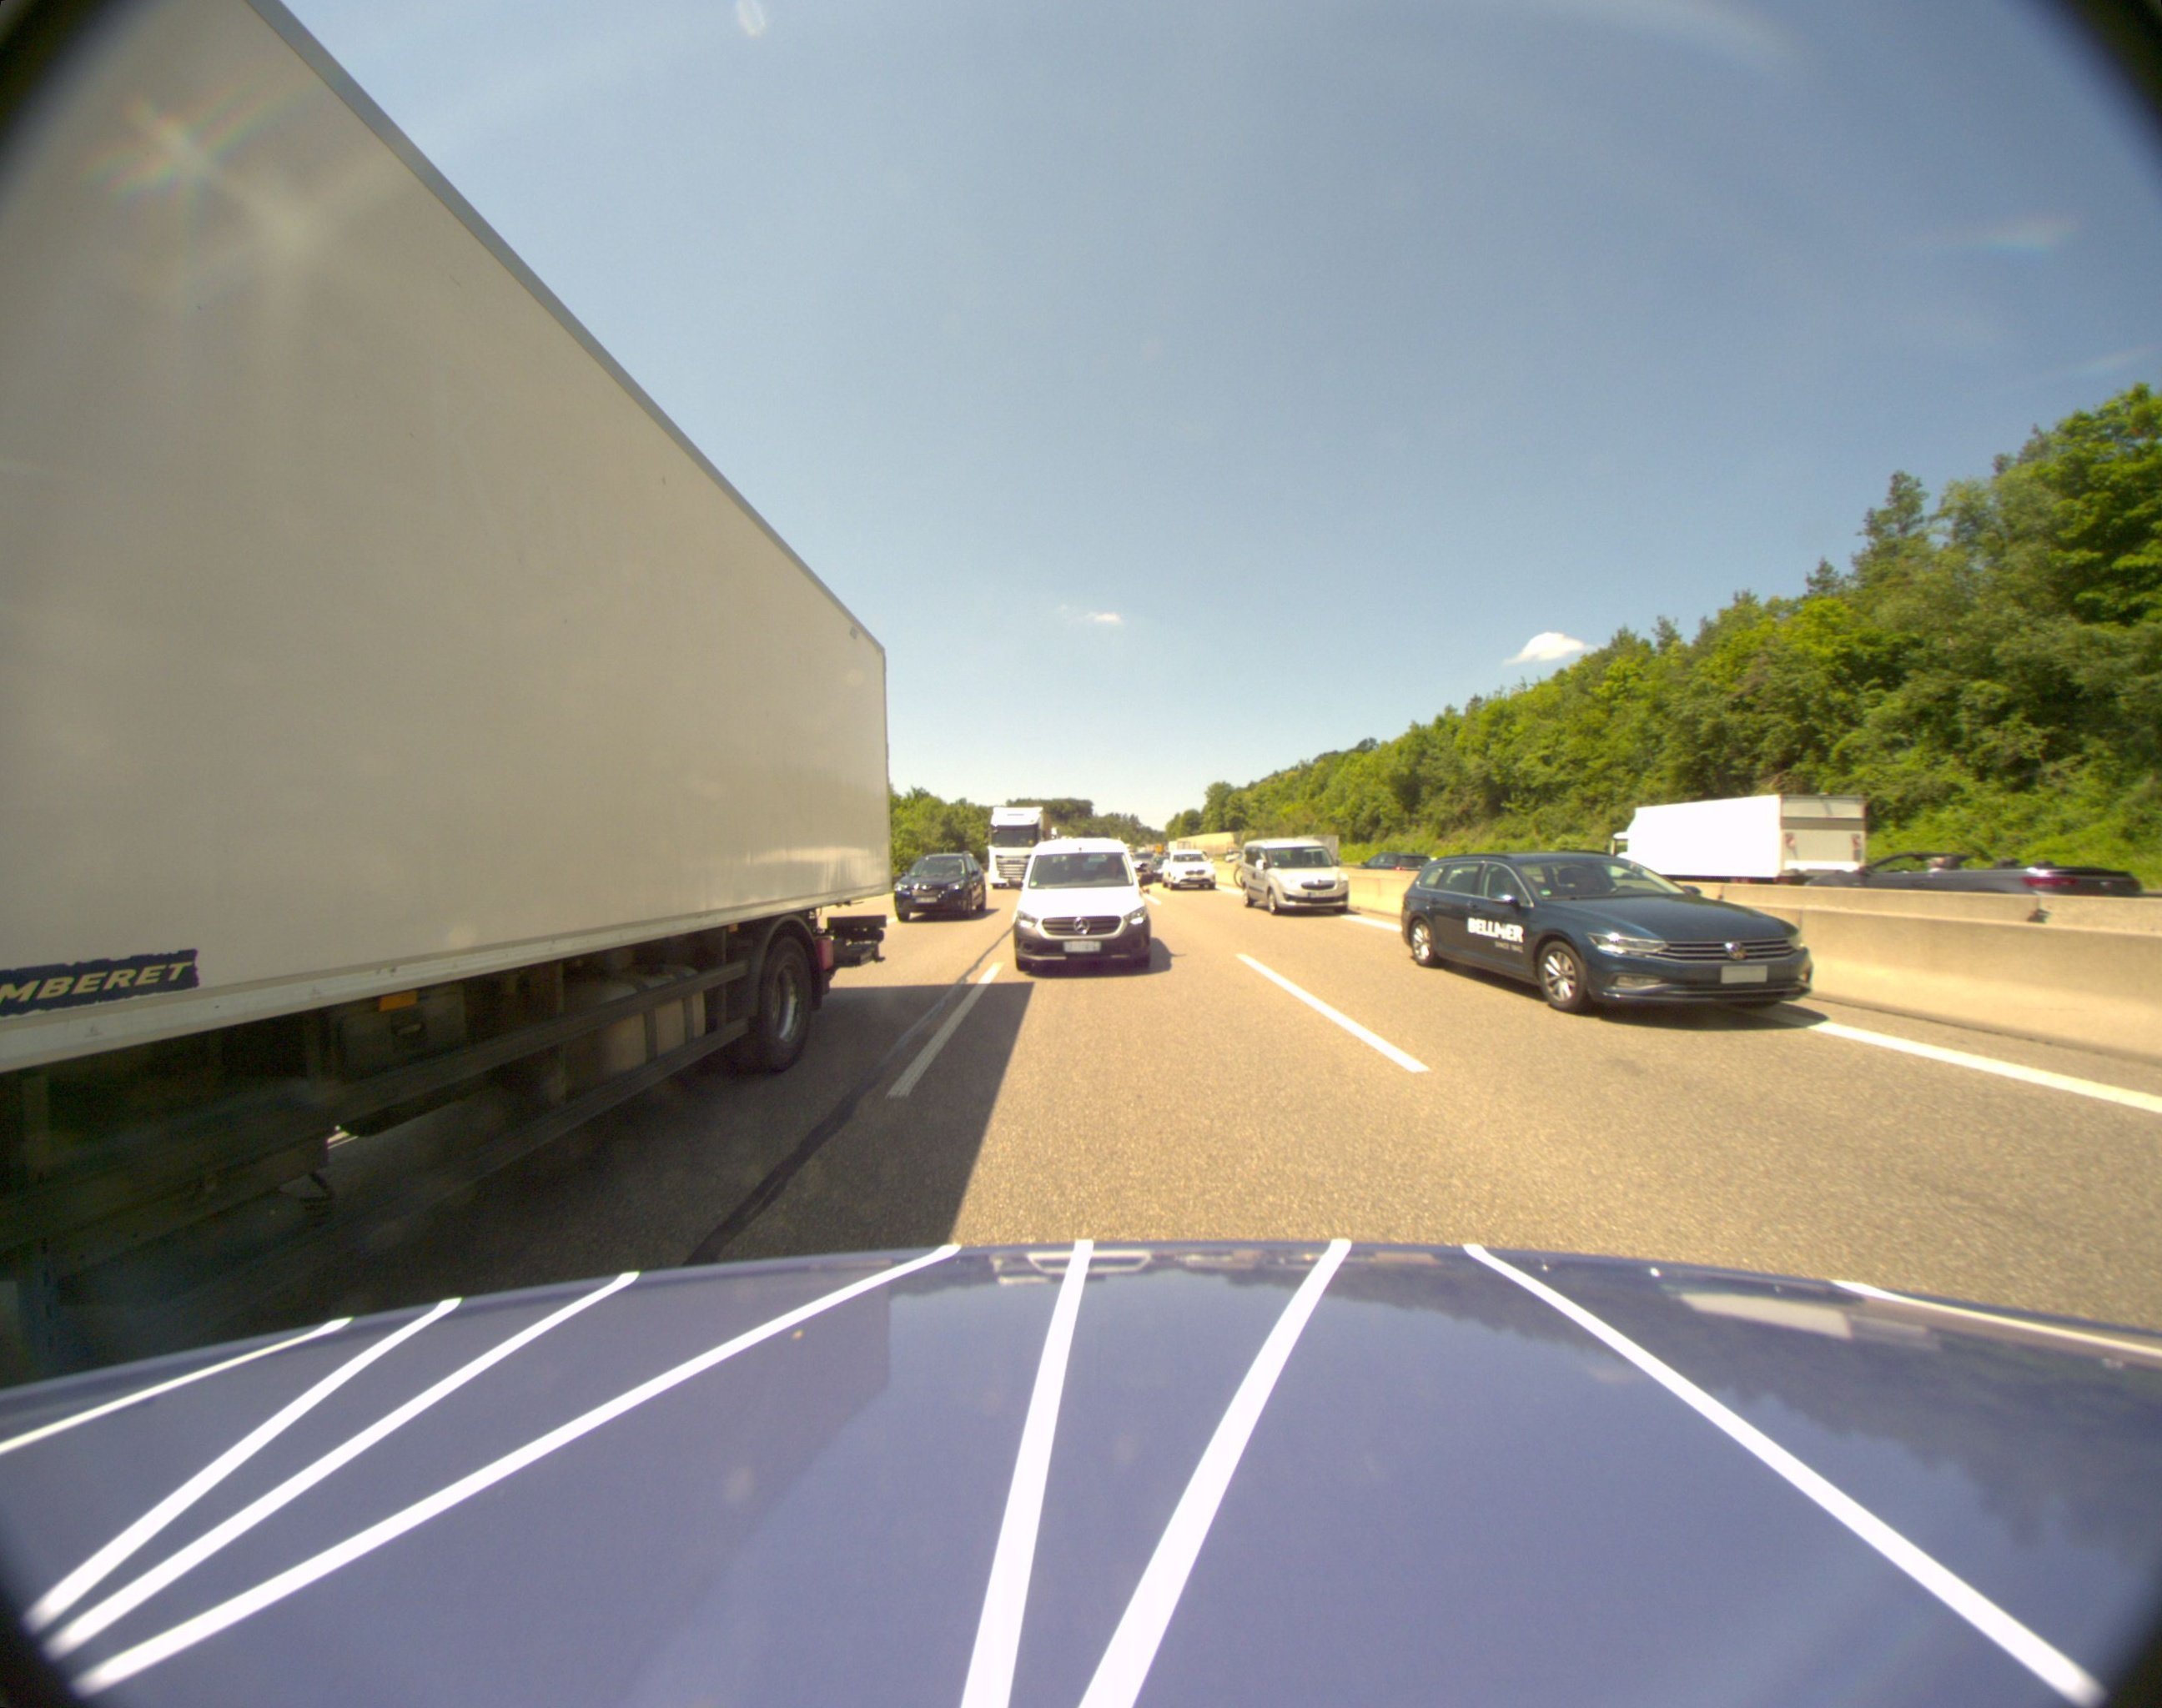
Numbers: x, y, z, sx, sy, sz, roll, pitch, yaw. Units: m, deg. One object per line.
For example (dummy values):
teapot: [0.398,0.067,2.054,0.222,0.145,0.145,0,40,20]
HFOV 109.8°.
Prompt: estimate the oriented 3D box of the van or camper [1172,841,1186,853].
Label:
van or camper: [17.268,-1.217,134.185,1.998,2.002,4.927,-2,1,2]

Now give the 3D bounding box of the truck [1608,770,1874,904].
truck: [22.828,-0.589,27.075,2.699,3.967,7.989,-2,1,2]

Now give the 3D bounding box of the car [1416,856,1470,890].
car: [23.610,1.213,49.725,1.856,2.002,3.512,-2,1,1]

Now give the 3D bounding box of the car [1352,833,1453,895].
car: [11.465,0.292,27.417,1.998,2.002,3.999,-2,1,1]

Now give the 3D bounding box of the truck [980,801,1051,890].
truck: [-3.192,-0.478,38.965,2.766,4.061,7.333,-2,1,1]

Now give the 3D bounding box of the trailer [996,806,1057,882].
trailer: [-3.088,-0.621,46.437,2.766,4.061,11.615,0,1,0]

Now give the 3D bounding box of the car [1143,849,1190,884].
car: [4.654,0.628,42.060,1.999,1.747,3.998,-2,1,-2]

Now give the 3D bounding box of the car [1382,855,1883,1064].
car: [5.023,0.788,7.977,1.879,1.442,4.677,-2,1,0]

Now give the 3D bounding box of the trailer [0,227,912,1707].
trailer: [-3.336,0.246,5.079,2.562,2.882,7.881,-2,0,0]

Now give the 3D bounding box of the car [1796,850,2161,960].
car: [15.331,0.753,13.251,1.998,1.511,3.999,-2,1,1]

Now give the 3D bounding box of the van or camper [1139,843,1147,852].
van or camper: [18.103,-1.996,221.549,1.998,2.371,4.808,4,1,2]

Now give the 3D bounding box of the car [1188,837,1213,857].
car: [12.515,-0.758,80.019,1.998,2.002,4.957,-2,1,2]

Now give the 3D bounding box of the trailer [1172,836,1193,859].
trailer: [20.667,-1.415,155.233,2.956,4.456,10.814,-2,1,0]

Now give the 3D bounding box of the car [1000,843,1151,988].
car: [-0.032,0.707,11.300,1.756,1.681,4.363,-2,1,1]

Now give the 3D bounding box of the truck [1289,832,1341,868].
truck: [19.673,-0.371,64.266,2.183,2.868,6.741,-2,1,0]

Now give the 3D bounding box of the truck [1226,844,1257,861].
truck: [19.920,-0.195,94.787,2.357,2.002,6.490,-2,1,-1]

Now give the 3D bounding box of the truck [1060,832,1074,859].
truck: [-2.232,-1.282,123.467,2.187,4.073,10.868,-2,0,-1]

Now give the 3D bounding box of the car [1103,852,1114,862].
car: [5.046,0.548,138.760,1.803,1.660,4.000,-2,0,-1]

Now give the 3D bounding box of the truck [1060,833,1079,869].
truck: [-1.485,-0.385,100.922,2.187,4.437,10.868,-2,0,-1]

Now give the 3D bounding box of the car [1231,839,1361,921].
car: [5.261,0.540,19.344,1.857,1.762,4.916,-2,1,0]

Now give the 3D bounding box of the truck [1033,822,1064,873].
truck: [-2.987,-0.519,71.866,2.394,4.437,10.868,-2,0,-1]

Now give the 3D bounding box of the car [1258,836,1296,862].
car: [15.919,-0.423,62.058,1.998,2.002,4.418,-2,1,1]

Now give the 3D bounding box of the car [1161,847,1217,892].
car: [4.564,0.615,32.517,1.824,1.696,3.999,-2,1,0]

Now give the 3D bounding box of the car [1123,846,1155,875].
car: [4.158,0.444,54.950,1.998,2.001,4.001,-1,-1,1]

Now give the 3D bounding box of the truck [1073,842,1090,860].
truck: [0.096,-0.701,200.547,4.084,4.403,11.396,-2,0,-1]

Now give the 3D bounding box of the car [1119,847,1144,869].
car: [4.973,0.341,75.602,1.999,2.002,3.998,-2,1,-2]

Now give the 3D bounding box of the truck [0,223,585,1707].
truck: [-3.316,0.299,0.934,2.562,2.924,4.103,-1,1,2]

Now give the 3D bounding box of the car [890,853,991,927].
car: [-3.641,0.848,20.503,1.999,1.682,4.609,0,1,-2]
